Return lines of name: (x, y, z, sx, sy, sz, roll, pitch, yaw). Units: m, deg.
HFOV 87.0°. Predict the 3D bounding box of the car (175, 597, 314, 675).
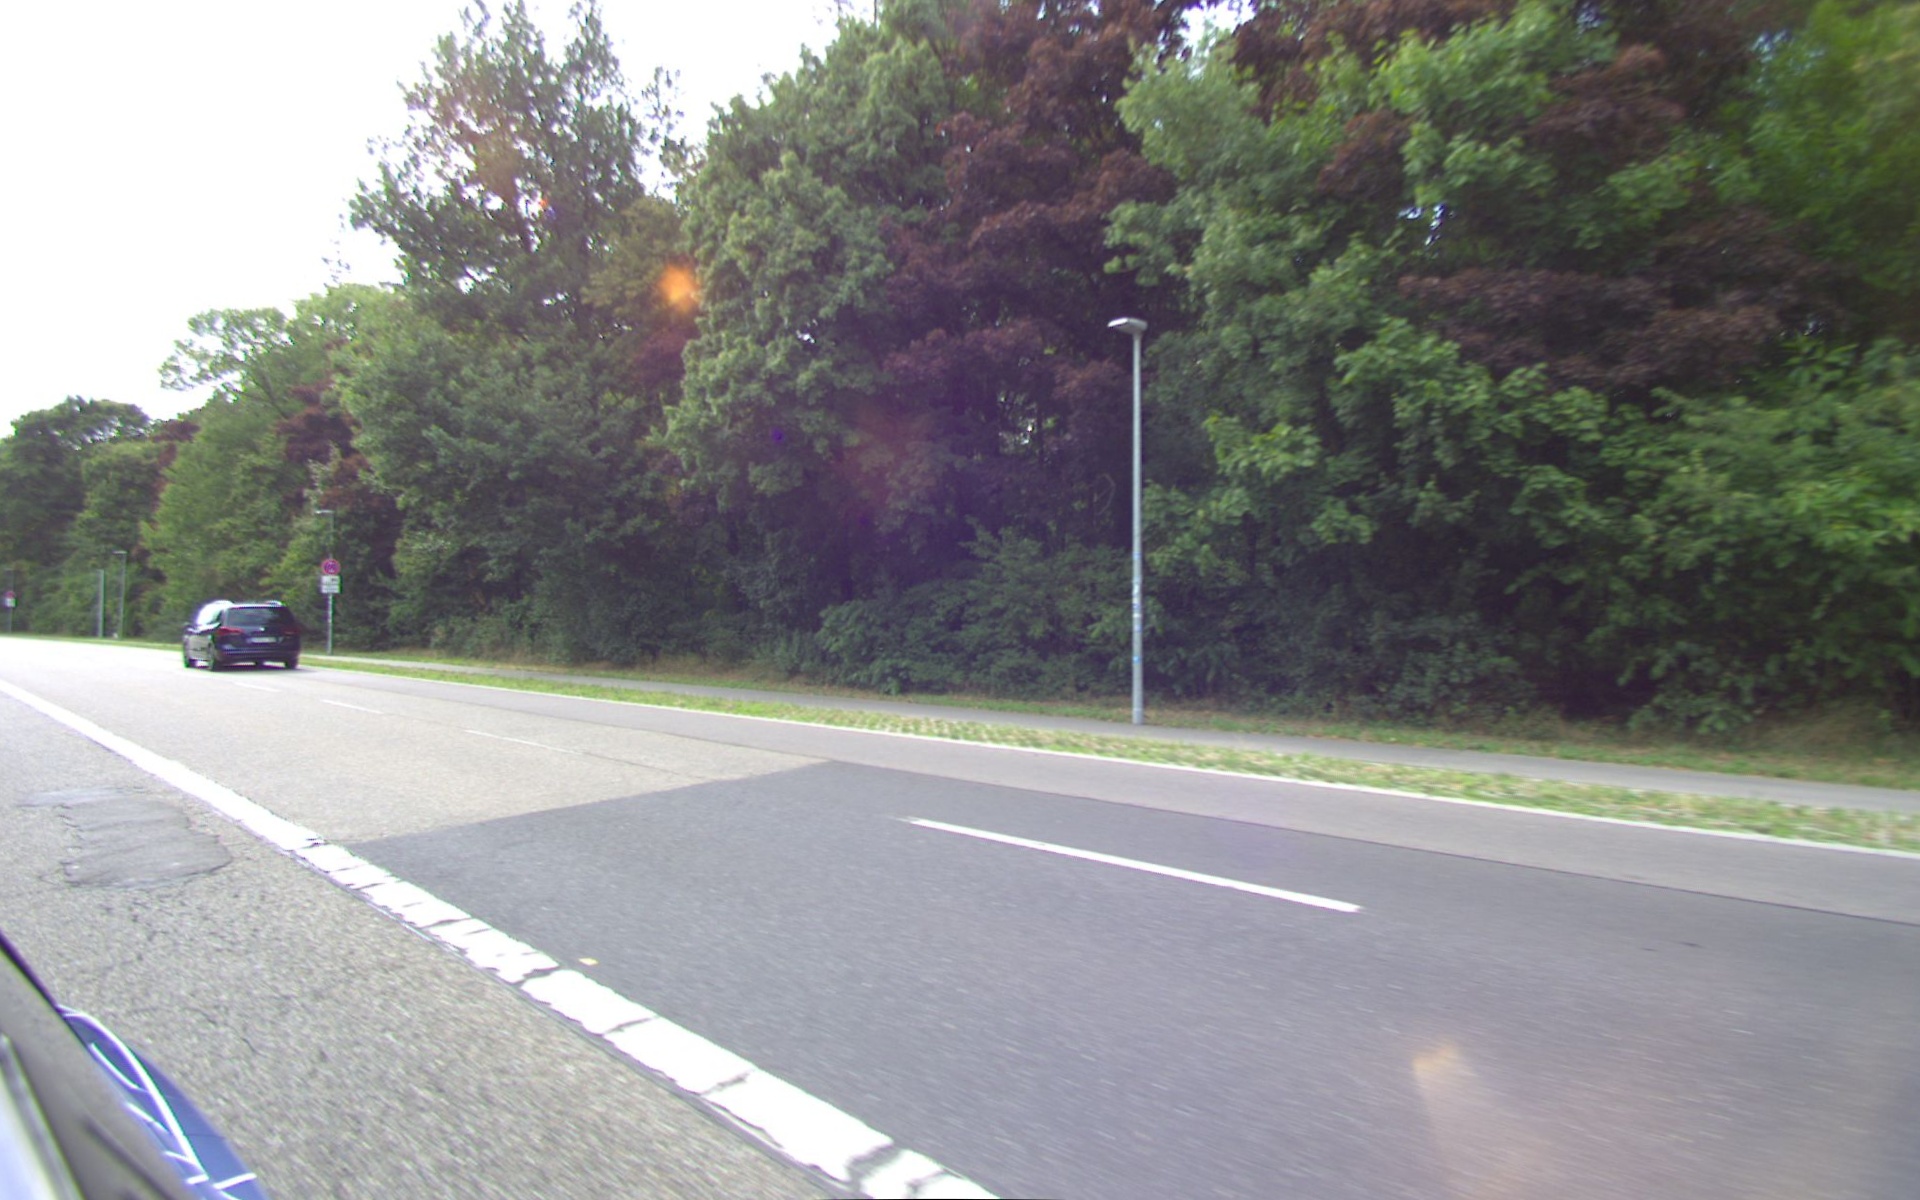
car: (-18.662, 0.848, 26.312, 4.748, 1.804, 1.972, 0, 2, 43)
